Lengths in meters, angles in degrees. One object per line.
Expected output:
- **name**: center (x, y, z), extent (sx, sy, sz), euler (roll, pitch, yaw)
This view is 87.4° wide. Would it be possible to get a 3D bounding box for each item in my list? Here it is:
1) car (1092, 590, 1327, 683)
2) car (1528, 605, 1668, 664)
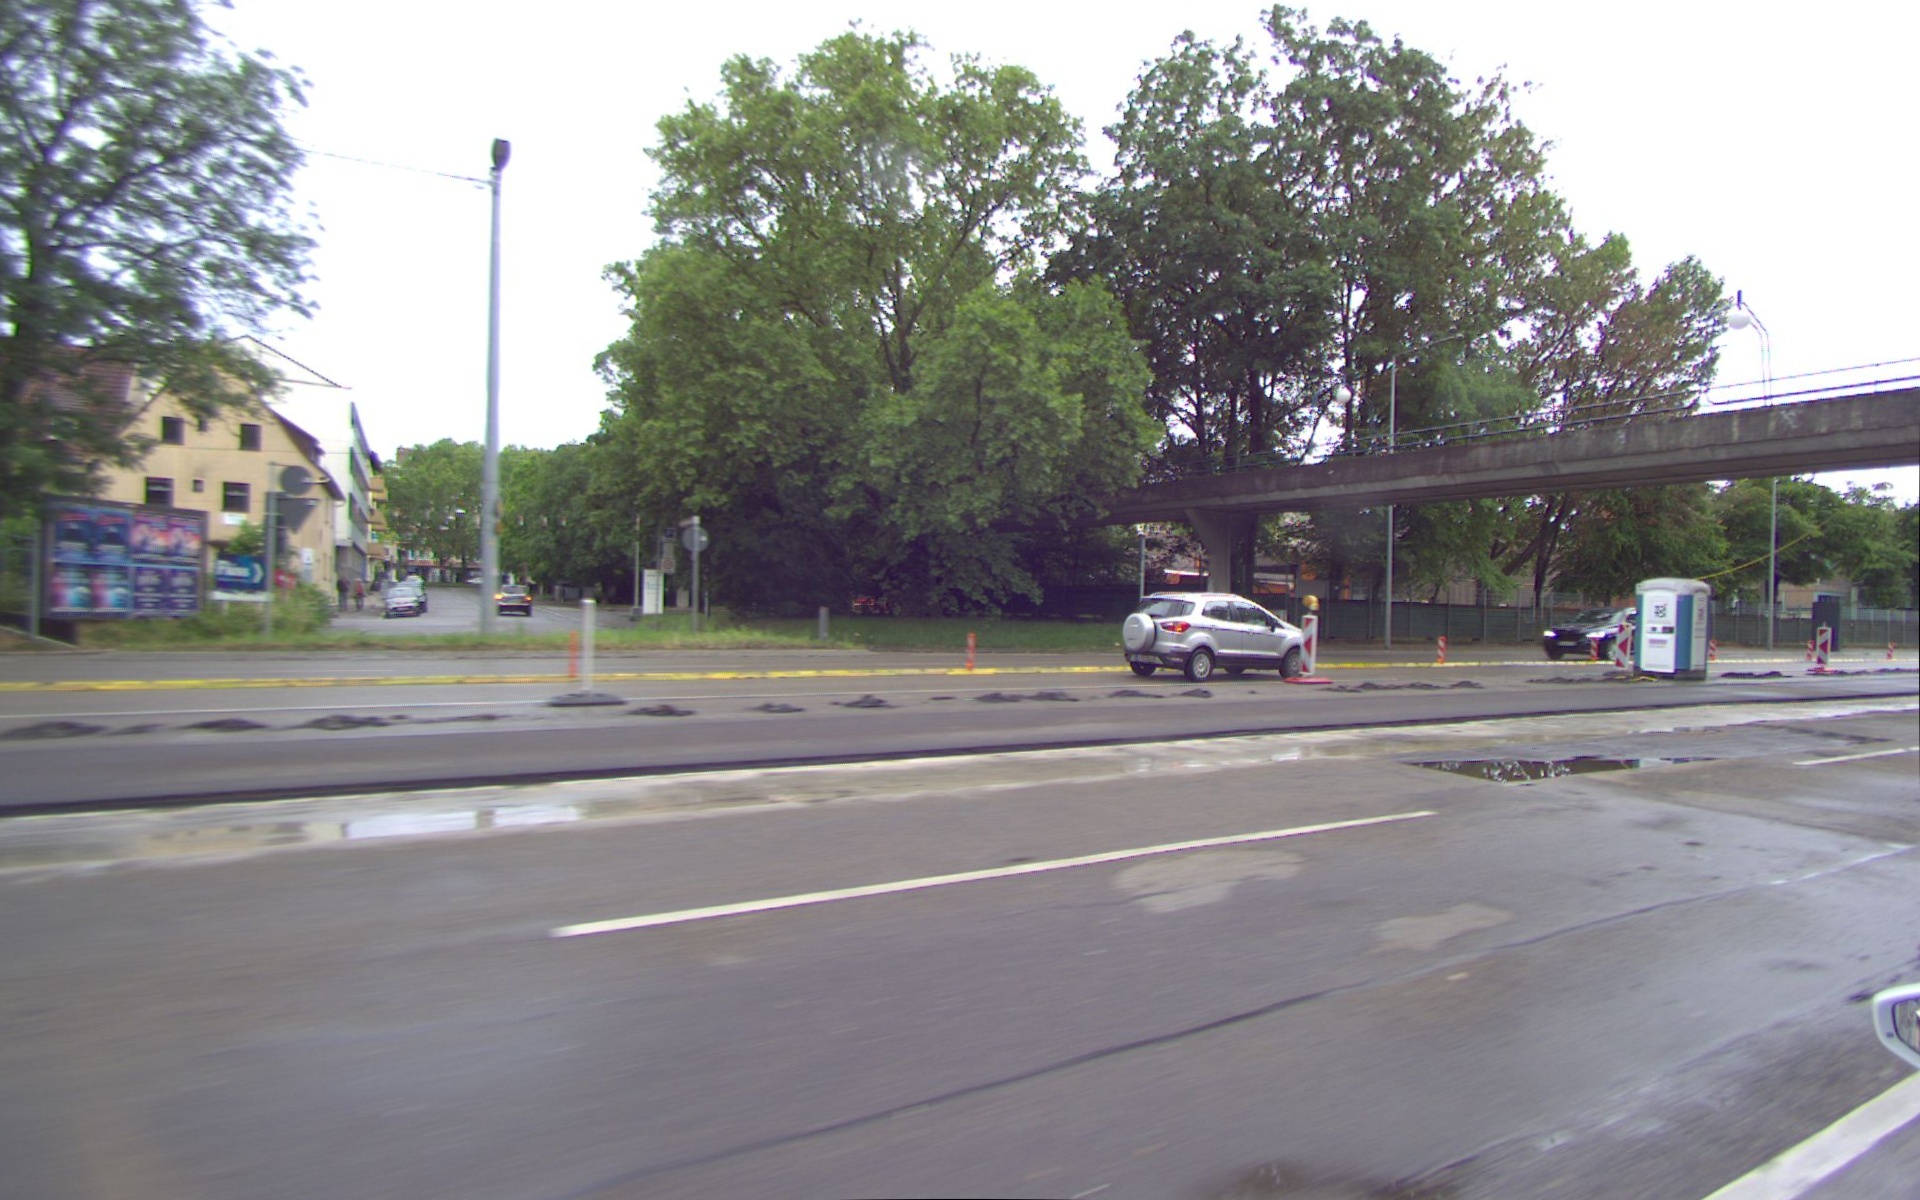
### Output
- **car**: center (4.874, 0.691, 19.504), extent (4.313, 1.585, 1.879), euler (2, 1, -31)
- **car**: center (20.998, 1.132, 33.032), extent (4.551, 1.830, 1.963), euler (2, -1, -29)
